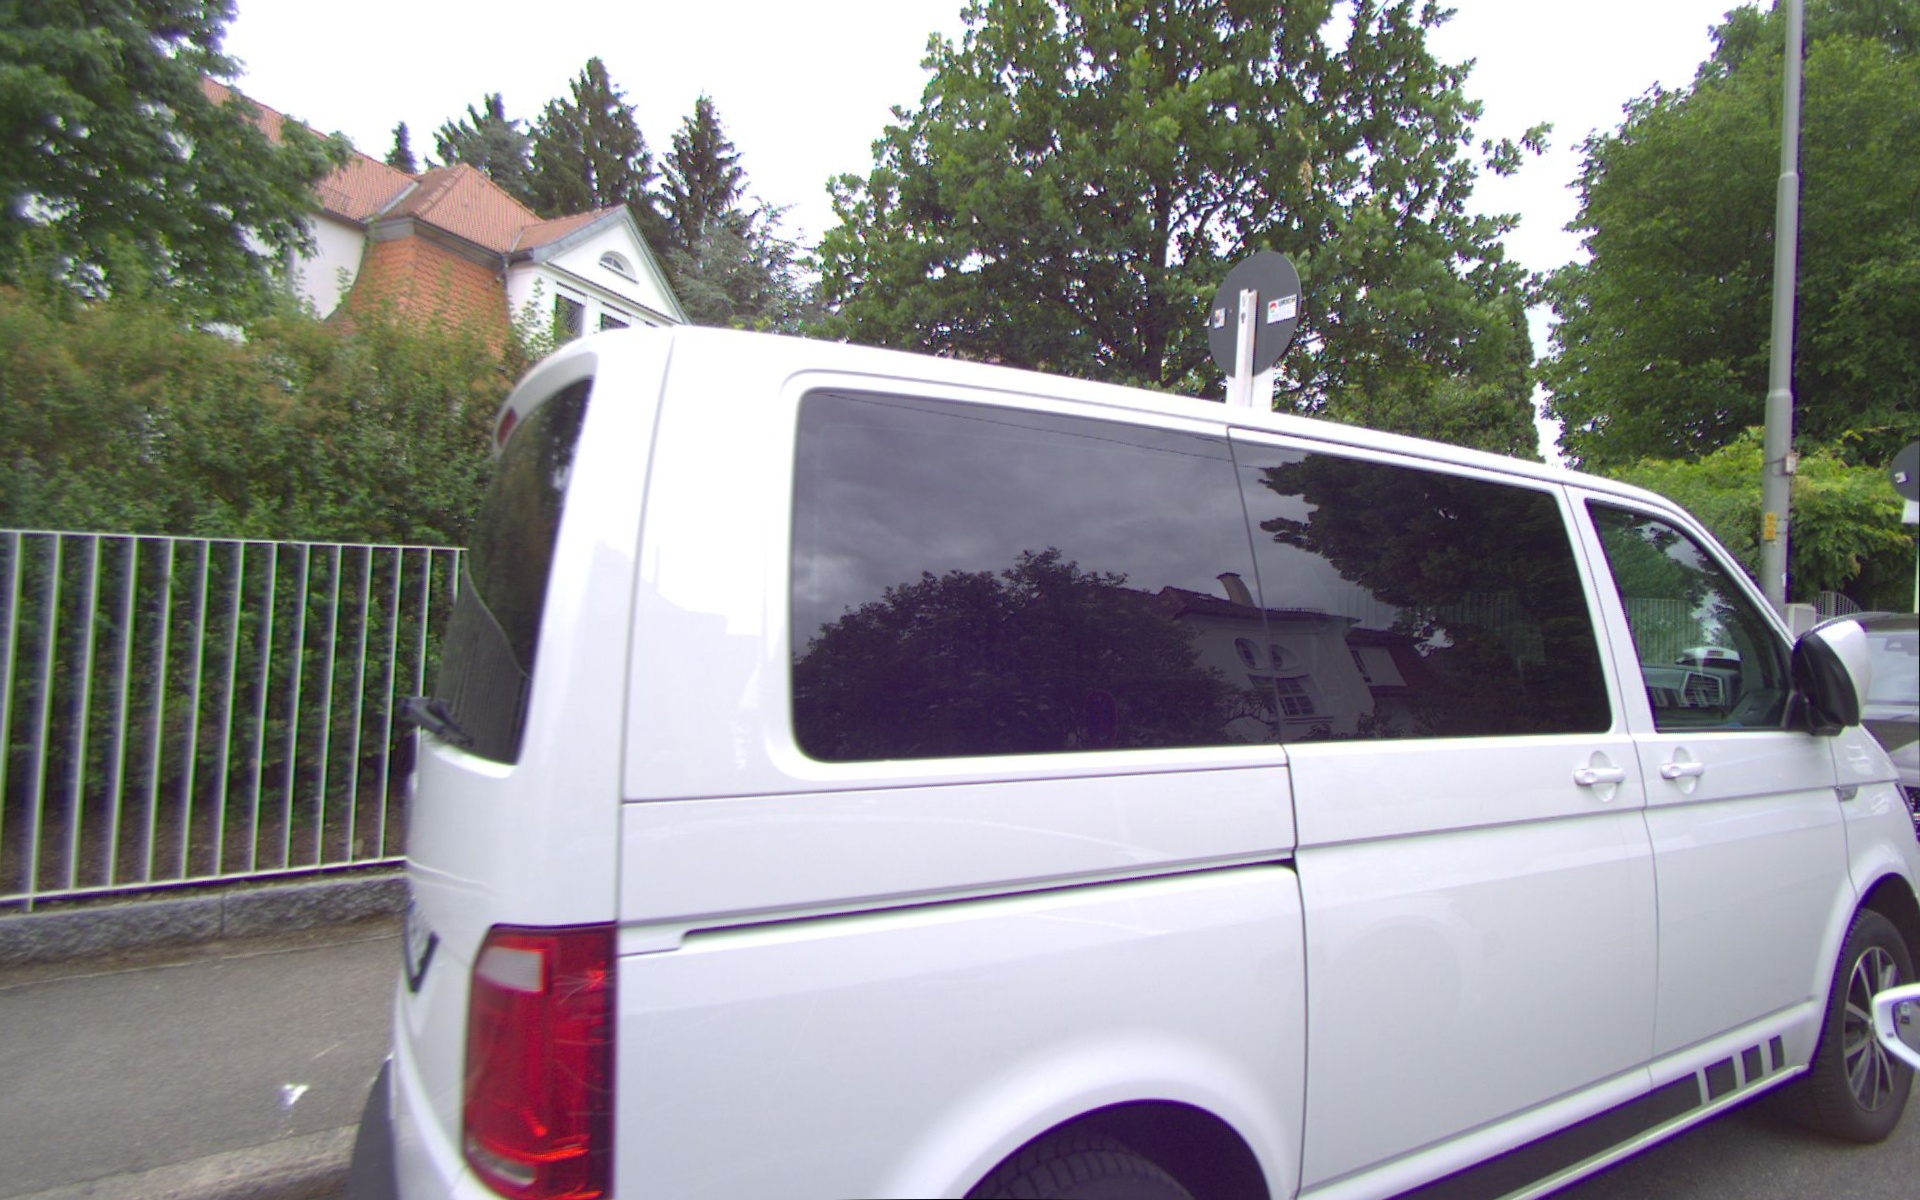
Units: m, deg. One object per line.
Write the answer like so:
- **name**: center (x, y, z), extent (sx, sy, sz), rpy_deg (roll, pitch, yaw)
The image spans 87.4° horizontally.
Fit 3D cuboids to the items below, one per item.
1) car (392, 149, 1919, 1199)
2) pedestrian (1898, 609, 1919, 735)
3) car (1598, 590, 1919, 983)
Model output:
- **car**: center (0.966, 0.601, 2.976), extent (4.566, 1.938, 1.846), rpy_deg (2, -3, -31)
- **pedestrian**: center (12.517, 0.931, 12.737), extent (0.789, 1.567, 0.605), rpy_deg (1, 4, -31)
- **car**: center (5.632, 0.829, 5.708), extent (4.296, 1.644, 1.781), rpy_deg (1, -2, -33)
